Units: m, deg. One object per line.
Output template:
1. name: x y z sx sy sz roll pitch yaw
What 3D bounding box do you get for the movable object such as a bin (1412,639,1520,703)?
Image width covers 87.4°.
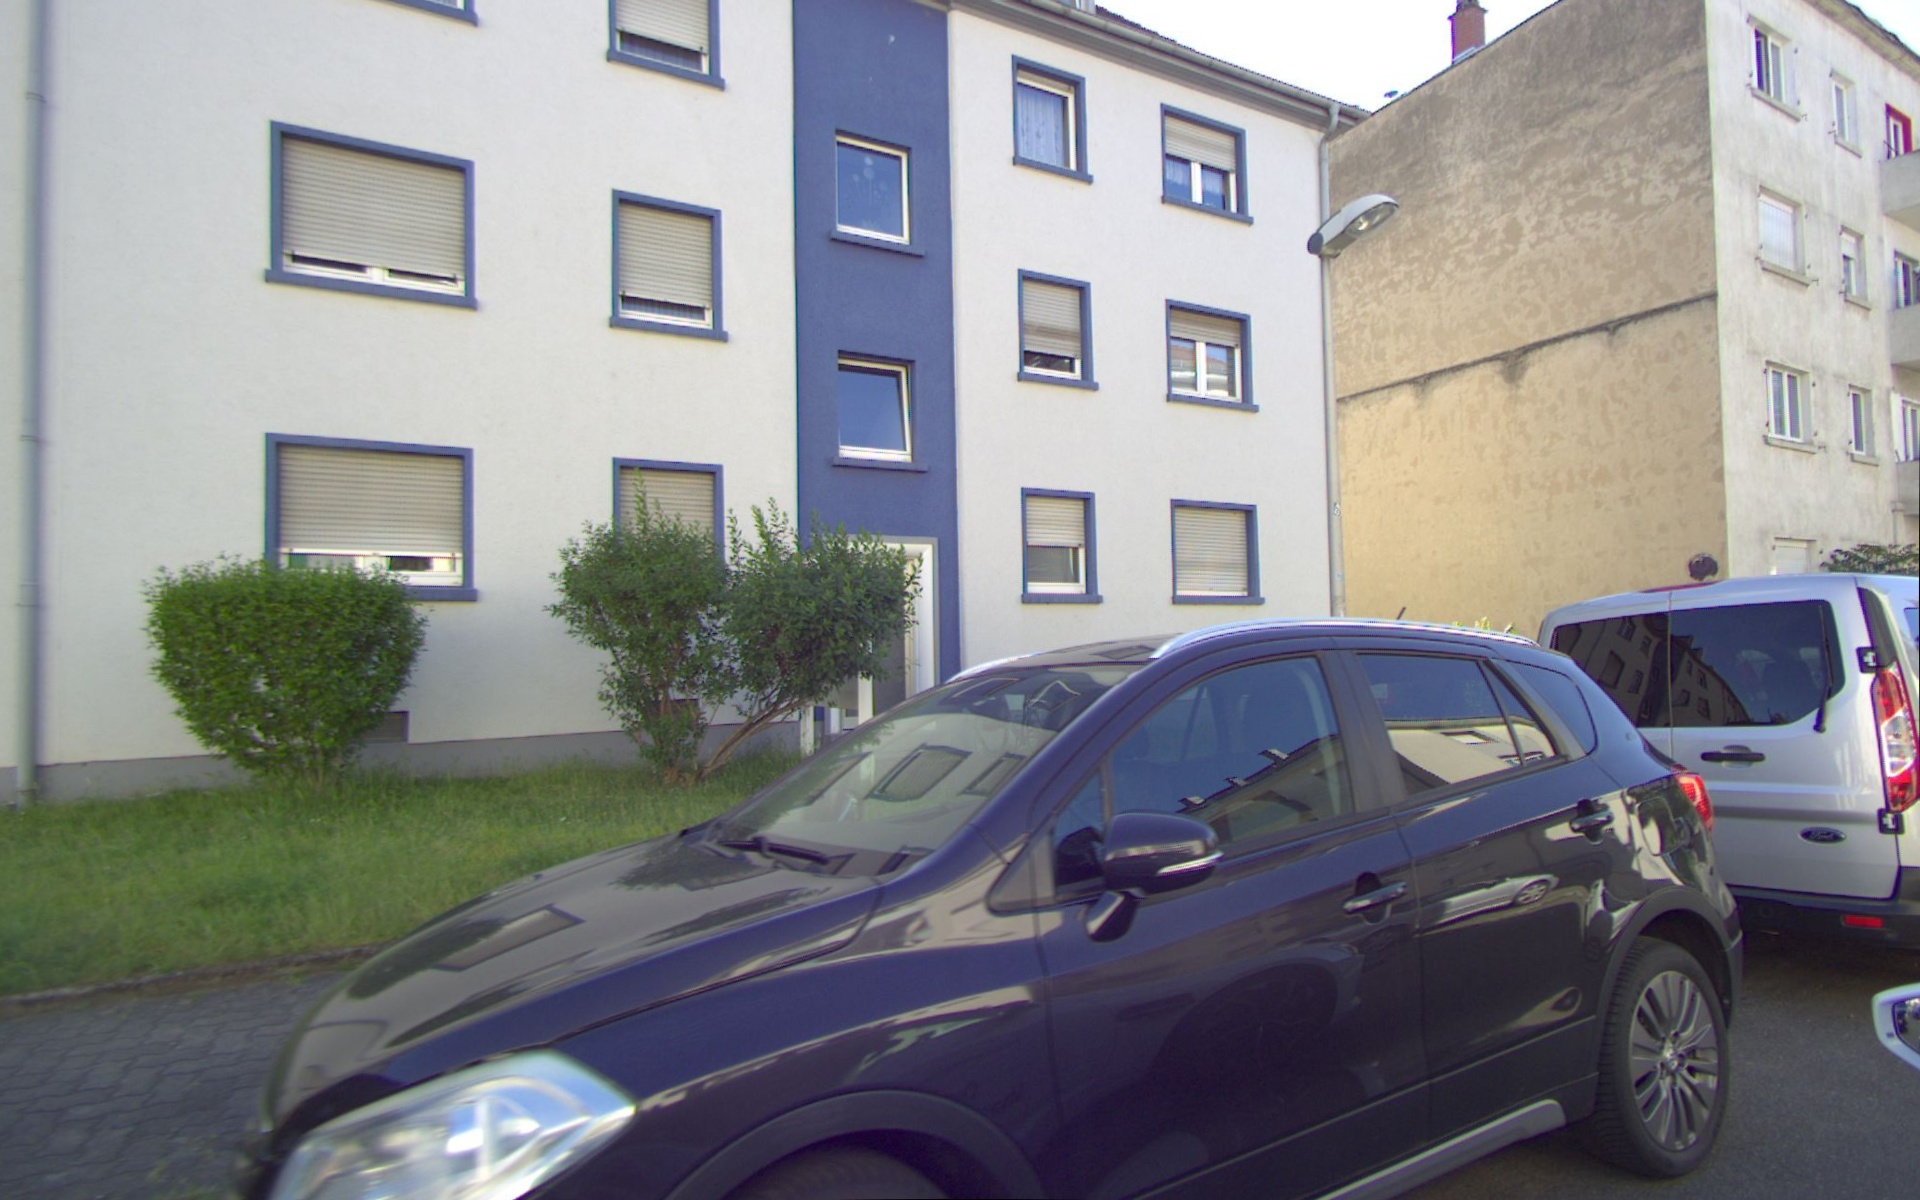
1. movable object such as a bin: 8.446 1.194 16.796 1.189 1.012 1.125 2 -5 -29

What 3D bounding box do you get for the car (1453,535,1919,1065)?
1. car: 5.093 0.835 5.472 4.890 1.853 1.793 1 -7 -30

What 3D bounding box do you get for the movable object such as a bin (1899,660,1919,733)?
1. movable object such as a bin: 15.087 1.481 15.414 0.806 1.093 0.769 1 -3 -30

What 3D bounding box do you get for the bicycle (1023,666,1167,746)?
1. bicycle: 1.860 1.412 13.671 2.049 0.974 0.497 1 -1 -29

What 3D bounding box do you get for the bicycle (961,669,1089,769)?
1. bicycle: 0.727 1.372 12.018 0.494 0.974 2.058 1 -1 -29

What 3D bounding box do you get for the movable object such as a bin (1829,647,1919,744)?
1. movable object such as a bin: 14.121 1.413 15.136 1.032 1.394 1.250 1 -3 -30

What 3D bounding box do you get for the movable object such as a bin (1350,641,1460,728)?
1. movable object such as a bin: 7.888 1.495 17.816 1.420 1.451 1.125 2 -5 -30

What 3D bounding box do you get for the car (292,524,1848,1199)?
1. car: 0.591 0.858 2.922 4.116 1.610 1.667 1 -8 -31
